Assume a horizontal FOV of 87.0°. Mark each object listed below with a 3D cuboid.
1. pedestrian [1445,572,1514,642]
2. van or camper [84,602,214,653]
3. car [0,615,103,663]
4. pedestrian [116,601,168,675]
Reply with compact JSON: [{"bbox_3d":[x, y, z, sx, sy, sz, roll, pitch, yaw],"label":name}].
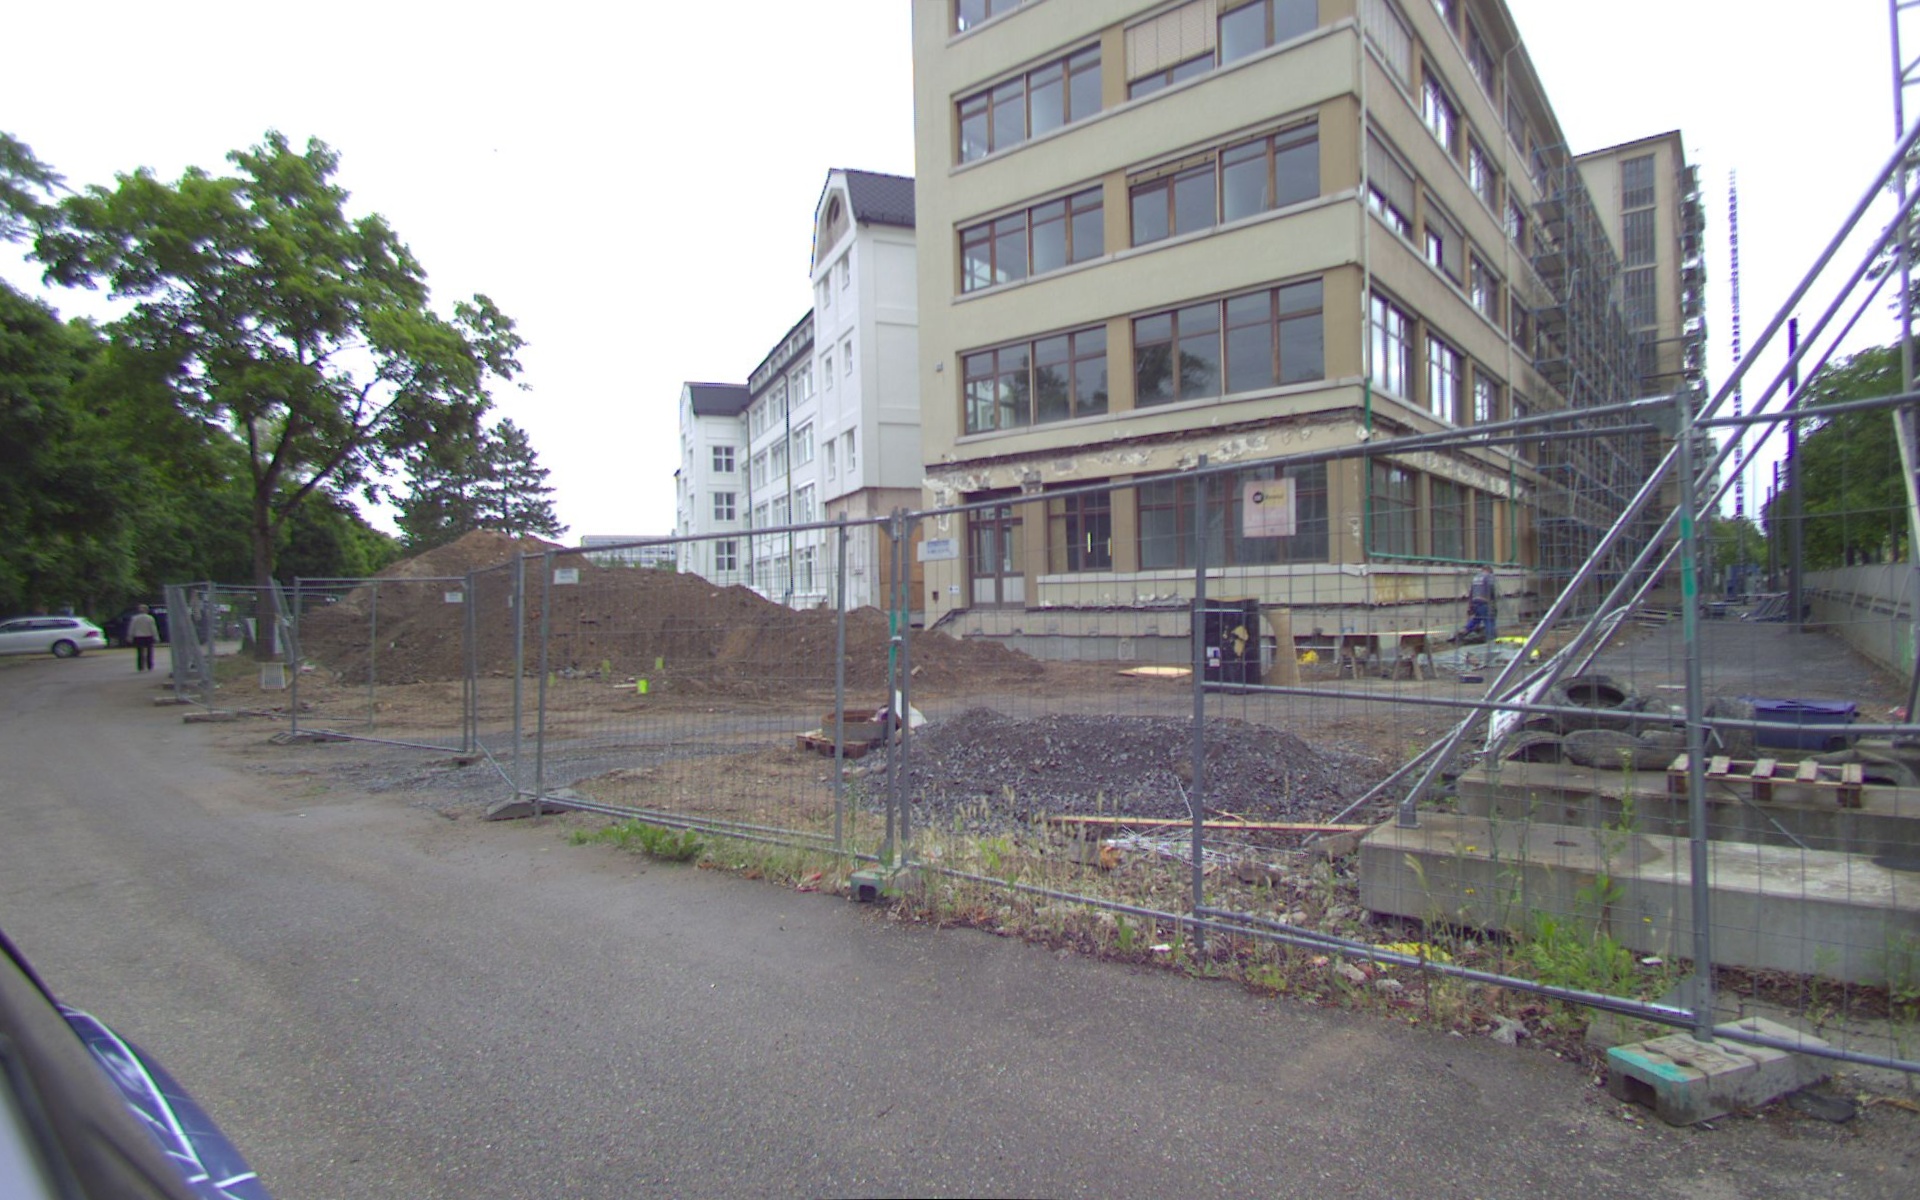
[{"bbox_3d":[11.083,0.142,21.595,0.916,1.448,0.985,0,-1,-37],"label":"pedestrian"},{"bbox_3d":[-38.490,1.272,48.163,4.423,2.275,2.007,-1,0,-23],"label":"van or camper"},{"bbox_3d":[-33.482,1.404,36.457,3.822,1.586,1.756,-1,0,-35],"label":"car"},{"bbox_3d":[-20.168,0.926,24.962,0.657,1.795,0.747,-1,0,16],"label":"pedestrian"}]
